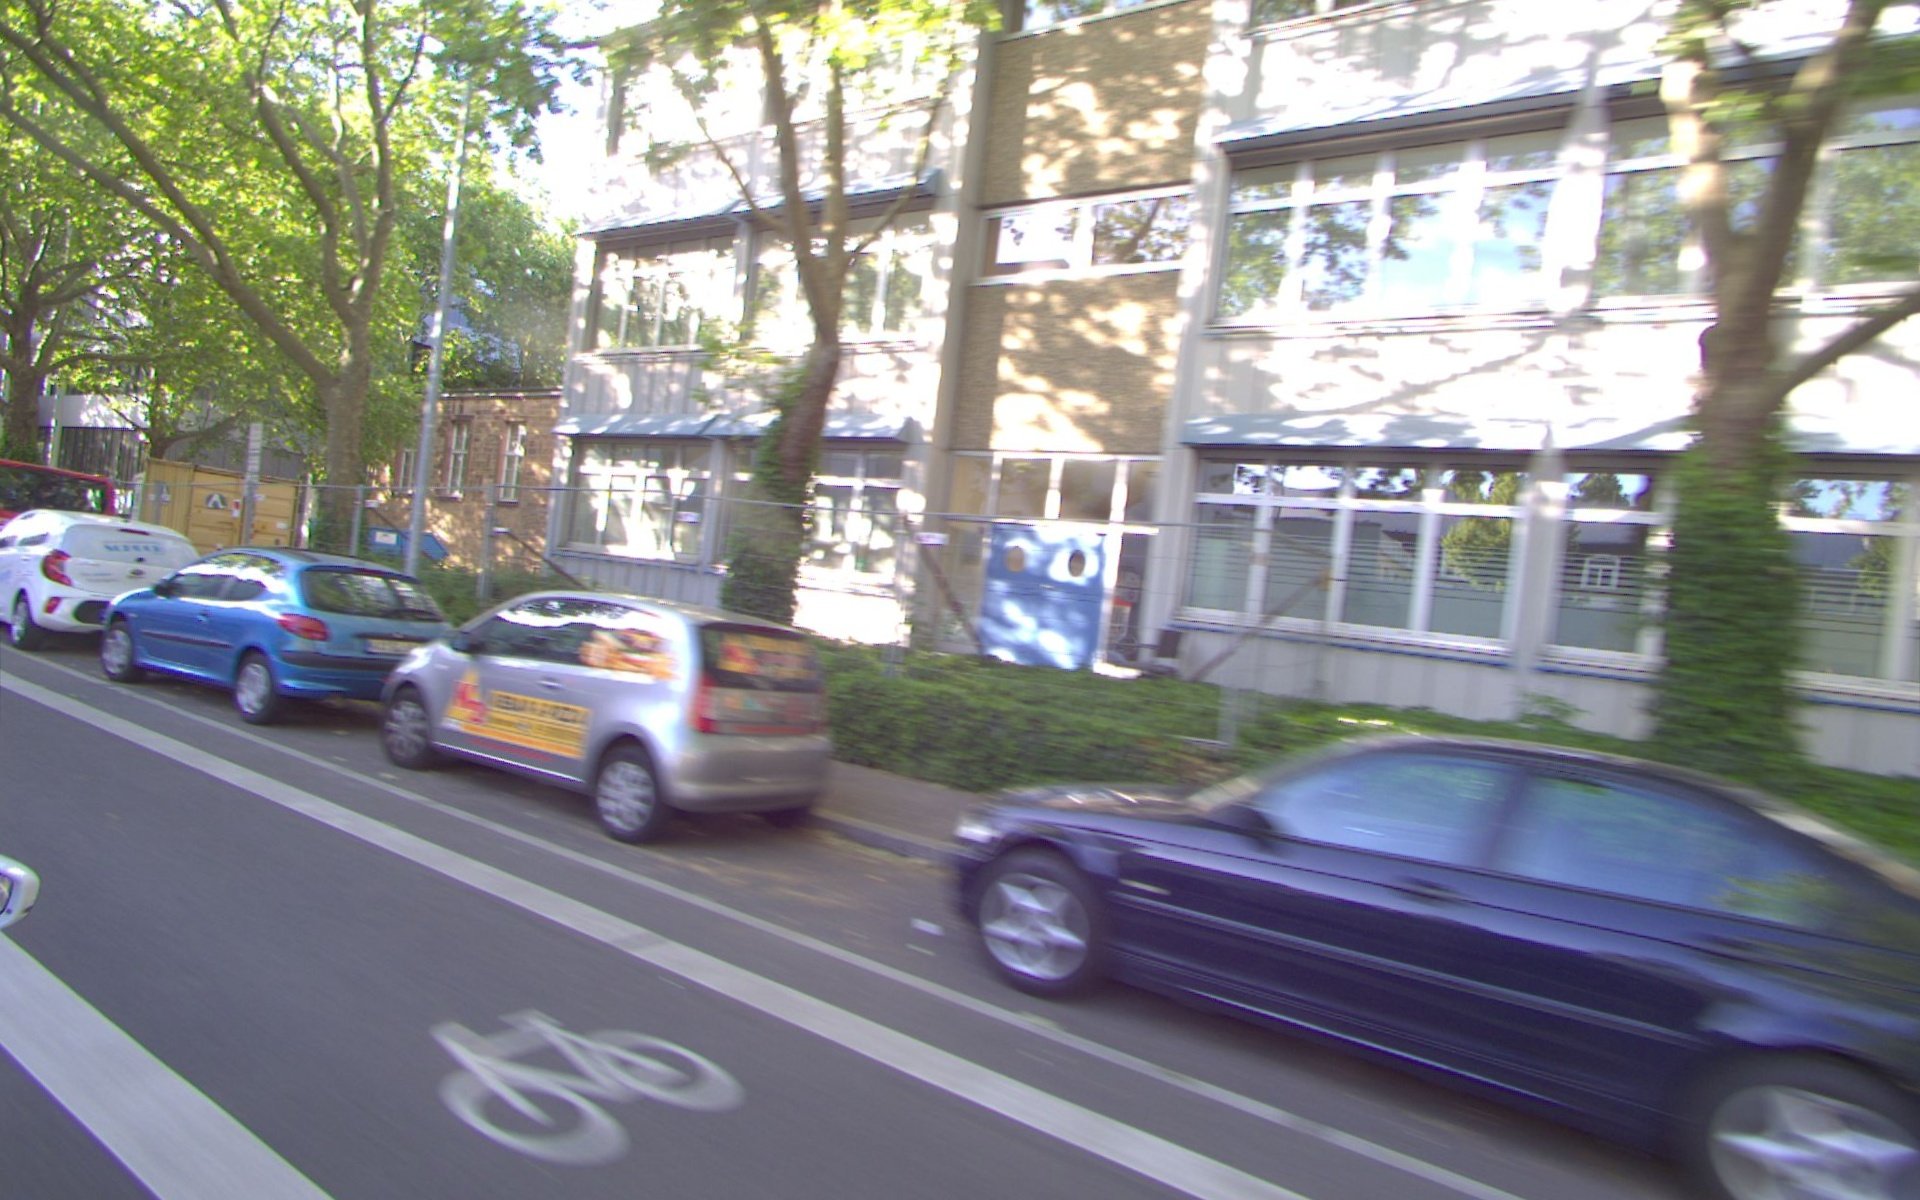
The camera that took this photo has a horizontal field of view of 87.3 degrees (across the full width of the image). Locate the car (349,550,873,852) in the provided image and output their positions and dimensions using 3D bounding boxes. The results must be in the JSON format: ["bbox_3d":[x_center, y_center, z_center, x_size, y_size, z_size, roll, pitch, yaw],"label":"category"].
[{"bbox_3d":[-2.577,0.623,7.305,3.434,1.492,1.618,6,-3,31],"label":"car"}]

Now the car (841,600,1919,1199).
[{"bbox_3d":[1.927,1.078,4.354,4.522,1.540,1.860,6,-2,31],"label":"car"}]

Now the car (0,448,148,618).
[{"bbox_3d":[-14.131,-1.086,14.349,5.084,2.016,2.083,6,-3,30],"label":"car"}]

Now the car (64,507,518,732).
[{"bbox_3d":[-6.338,0.168,9.497,3.861,1.527,1.861,7,-3,29],"label":"car"}]

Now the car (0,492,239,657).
[{"bbox_3d":[-10.247,-0.351,11.718,3.699,1.502,1.641,6,-3,33],"label":"car"}]
